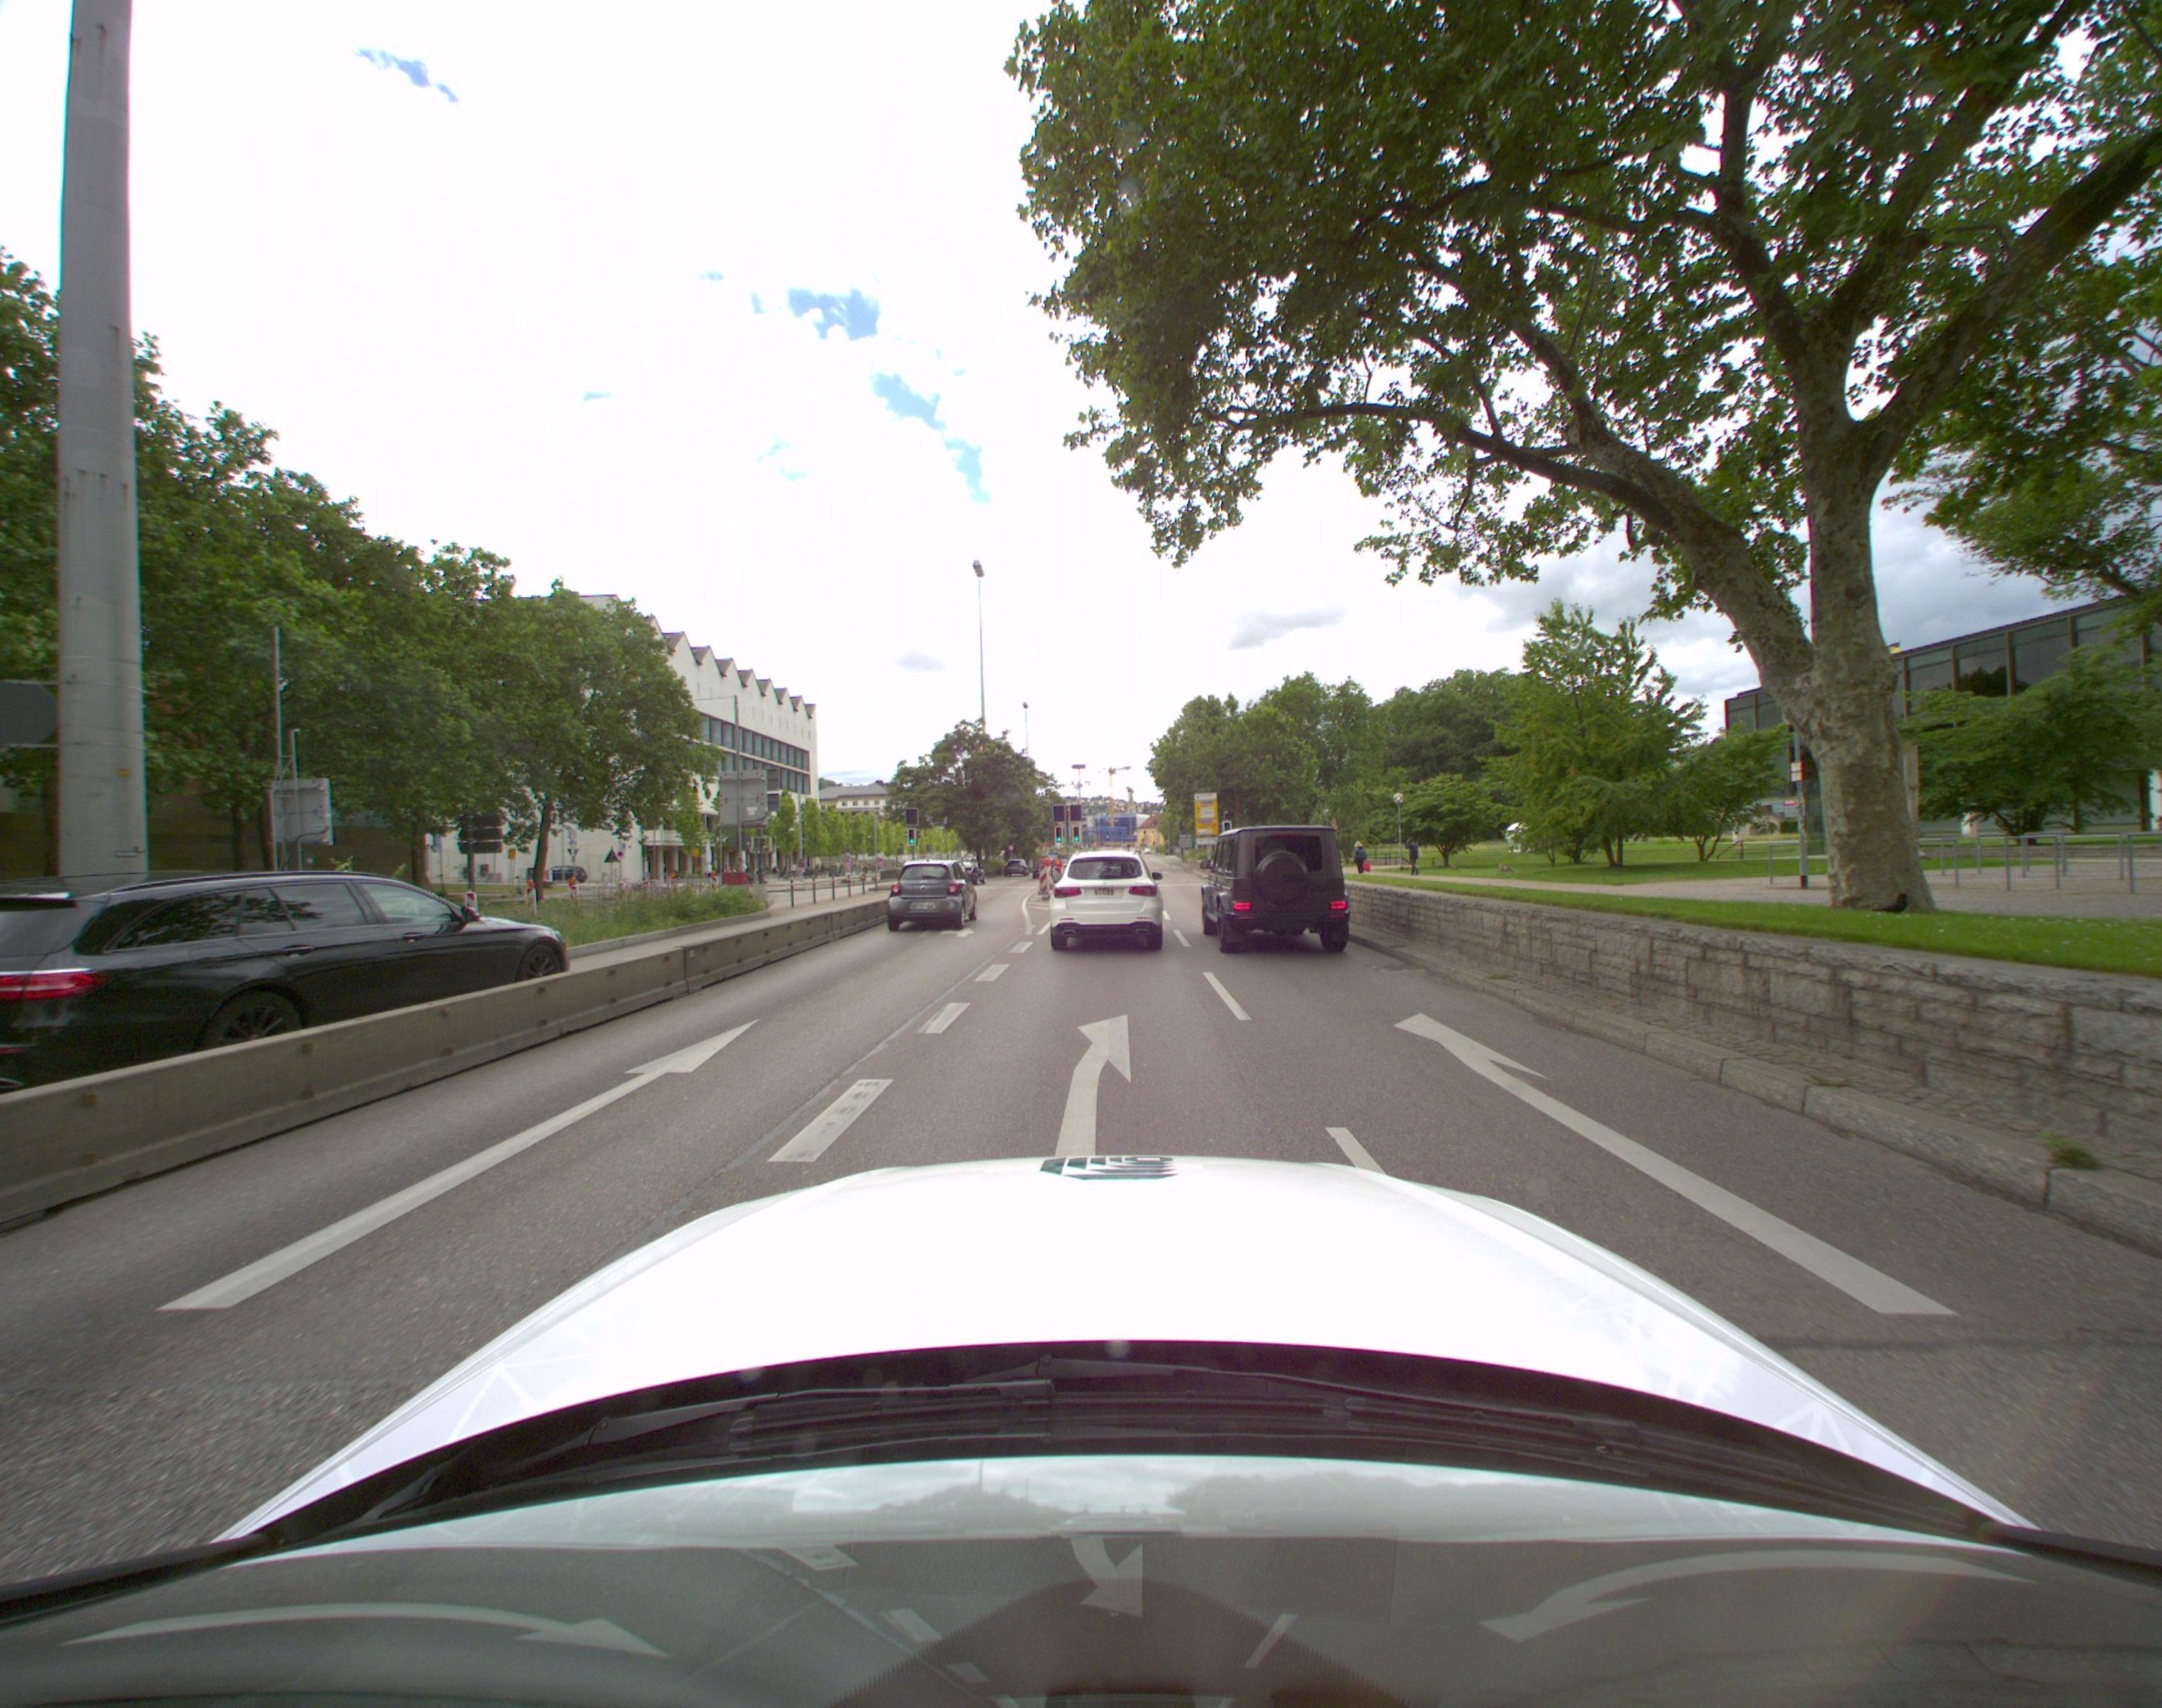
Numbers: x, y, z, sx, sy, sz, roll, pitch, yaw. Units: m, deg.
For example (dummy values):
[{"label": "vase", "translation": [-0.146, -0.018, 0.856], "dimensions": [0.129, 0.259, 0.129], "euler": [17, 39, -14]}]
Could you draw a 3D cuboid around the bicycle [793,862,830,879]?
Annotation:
[{"label": "bicycle", "translation": [-29.652, 1.826, 89.628], "dimensions": [3.612, 1.684, 1.179], "euler": [-2, 0, -9]}]

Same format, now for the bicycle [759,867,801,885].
[{"label": "bicycle", "translation": [-30.211, 2.193, 81.776], "dimensions": [3.601, 1.684, 1.183], "euler": [-2, 0, 0]}]

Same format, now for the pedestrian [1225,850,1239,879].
[{"label": "pedestrian", "translation": [8.664, 0.609, 46.710], "dimensions": [0.695, 1.656, 0.684], "euler": [0, -1, 1]}]

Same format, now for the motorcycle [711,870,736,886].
[{"label": "motorcycle", "translation": [-29.276, 1.970, 66.708], "dimensions": [1.892, 1.234, 0.653], "euler": [-2, -3, -24]}]

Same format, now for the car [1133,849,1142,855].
[{"label": "car", "translation": [13.635, -0.440, 196.470], "dimensions": [1.713, 1.584, 3.999], "euler": [1, 0, 0]}]

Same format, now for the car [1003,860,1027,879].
[{"label": "car", "translation": [-5.712, 1.355, 70.688], "dimensions": [1.747, 1.553, 4.000], "euler": [1, 0, 1]}]

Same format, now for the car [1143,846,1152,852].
[{"label": "car", "translation": [17.818, -1.268, 217.694], "dimensions": [1.989, 1.618, 3.995], "euler": [1, -1, -3]}]

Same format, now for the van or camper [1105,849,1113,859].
[{"label": "van or camper", "translation": [7.239, 0.004, 209.506], "dimensions": [1.915, 2.320, 4.000], "euler": [-1, -2, 1]}]

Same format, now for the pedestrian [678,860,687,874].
[{"label": "pedestrian", "translation": [-39.078, 1.295, 79.914], "dimensions": [0.517, 1.327, 0.565], "euler": [-3, -2, 2]}]

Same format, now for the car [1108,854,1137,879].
[{"label": "car", "translation": [2.739, 0.785, 53.874], "dimensions": [1.713, 1.584, 3.999], "euler": [1, 0, 0]}]

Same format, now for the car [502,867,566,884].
[{"label": "car", "translation": [-43.795, 1.686, 65.283], "dimensions": [3.972, 1.276, 1.752], "euler": [-1, -1, 1]}]

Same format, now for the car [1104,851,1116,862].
[{"label": "car", "translation": [5.126, 0.435, 141.958], "dimensions": [1.985, 1.757, 4.003], "euler": [0, -1, 3]}]

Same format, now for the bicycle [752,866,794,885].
[{"label": "bicycle", "translation": [-29.971, 2.075, 79.343], "dimensions": [3.601, 1.684, 1.183], "euler": [-2, 0, 0]}]

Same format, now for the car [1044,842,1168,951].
[{"label": "car", "translation": [0.431, 0.698, 14.721], "dimensions": [1.934, 1.684, 4.000], "euler": [0, -1, 1]}]

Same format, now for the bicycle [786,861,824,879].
[{"label": "bicycle", "translation": [-29.632, 1.721, 87.432], "dimensions": [3.612, 1.684, 1.179], "euler": [-2, 0, -9]}]

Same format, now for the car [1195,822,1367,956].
[{"label": "car", "translation": [3.183, 0.535, 13.975], "dimensions": [1.970, 1.893, 4.709], "euler": [0, -1, 2]}]

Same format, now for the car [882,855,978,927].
[{"label": "car", "translation": [-3.386, 0.805, 18.872], "dimensions": [1.623, 1.509, 3.537], "euler": [0, -1, -1]}]

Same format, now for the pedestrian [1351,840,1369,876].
[{"label": "pedestrian", "translation": [12.432, 0.190, 36.290], "dimensions": [0.677, 1.562, 0.913], "euler": [-2, 0, 19]}]

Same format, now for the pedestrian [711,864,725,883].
[{"label": "pedestrian", "translation": [-30.797, 1.672, 69.147], "dimensions": [0.887, 1.557, 0.591], "euler": [-2, -1, -41]}]

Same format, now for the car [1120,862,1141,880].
[{"label": "car", "translation": [4.591, 1.579, 76.054], "dimensions": [1.713, 1.584, 3.999], "euler": [1, 0, 0]}]

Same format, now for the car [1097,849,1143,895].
[{"label": "car", "translation": [1.519, 0.699, 31.676], "dimensions": [1.665, 1.628, 4.002], "euler": [0, -1, 2]}]

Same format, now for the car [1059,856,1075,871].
[{"label": "car", "translation": [-1.590, 1.051, 91.097], "dimensions": [1.714, 1.584, 3.997], "euler": [1, 0, -2]}]

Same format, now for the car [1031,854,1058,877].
[{"label": "car", "translation": [-2.654, 0.821, 59.857], "dimensions": [1.713, 1.678, 3.999], "euler": [1, 0, 0]}]

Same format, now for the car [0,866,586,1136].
[{"label": "car", "translation": [-6.544, 0.838, 6.856], "dimensions": [1.807, 1.460, 4.860], "euler": [0, -1, -1]}]

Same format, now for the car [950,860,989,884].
[{"label": "car", "translation": [-6.400, 1.011, 47.177], "dimensions": [1.713, 1.292, 3.999], "euler": [1, 0, 0]}]

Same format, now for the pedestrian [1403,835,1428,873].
[{"label": "pedestrian", "translation": [14.518, 0.008, 35.369], "dimensions": [0.797, 1.626, 0.628], "euler": [-2, 0, 9]}]

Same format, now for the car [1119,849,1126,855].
[{"label": "car", "translation": [11.272, -0.414, 219.745], "dimensions": [1.713, 1.584, 3.999], "euler": [1, 0, 0]}]
